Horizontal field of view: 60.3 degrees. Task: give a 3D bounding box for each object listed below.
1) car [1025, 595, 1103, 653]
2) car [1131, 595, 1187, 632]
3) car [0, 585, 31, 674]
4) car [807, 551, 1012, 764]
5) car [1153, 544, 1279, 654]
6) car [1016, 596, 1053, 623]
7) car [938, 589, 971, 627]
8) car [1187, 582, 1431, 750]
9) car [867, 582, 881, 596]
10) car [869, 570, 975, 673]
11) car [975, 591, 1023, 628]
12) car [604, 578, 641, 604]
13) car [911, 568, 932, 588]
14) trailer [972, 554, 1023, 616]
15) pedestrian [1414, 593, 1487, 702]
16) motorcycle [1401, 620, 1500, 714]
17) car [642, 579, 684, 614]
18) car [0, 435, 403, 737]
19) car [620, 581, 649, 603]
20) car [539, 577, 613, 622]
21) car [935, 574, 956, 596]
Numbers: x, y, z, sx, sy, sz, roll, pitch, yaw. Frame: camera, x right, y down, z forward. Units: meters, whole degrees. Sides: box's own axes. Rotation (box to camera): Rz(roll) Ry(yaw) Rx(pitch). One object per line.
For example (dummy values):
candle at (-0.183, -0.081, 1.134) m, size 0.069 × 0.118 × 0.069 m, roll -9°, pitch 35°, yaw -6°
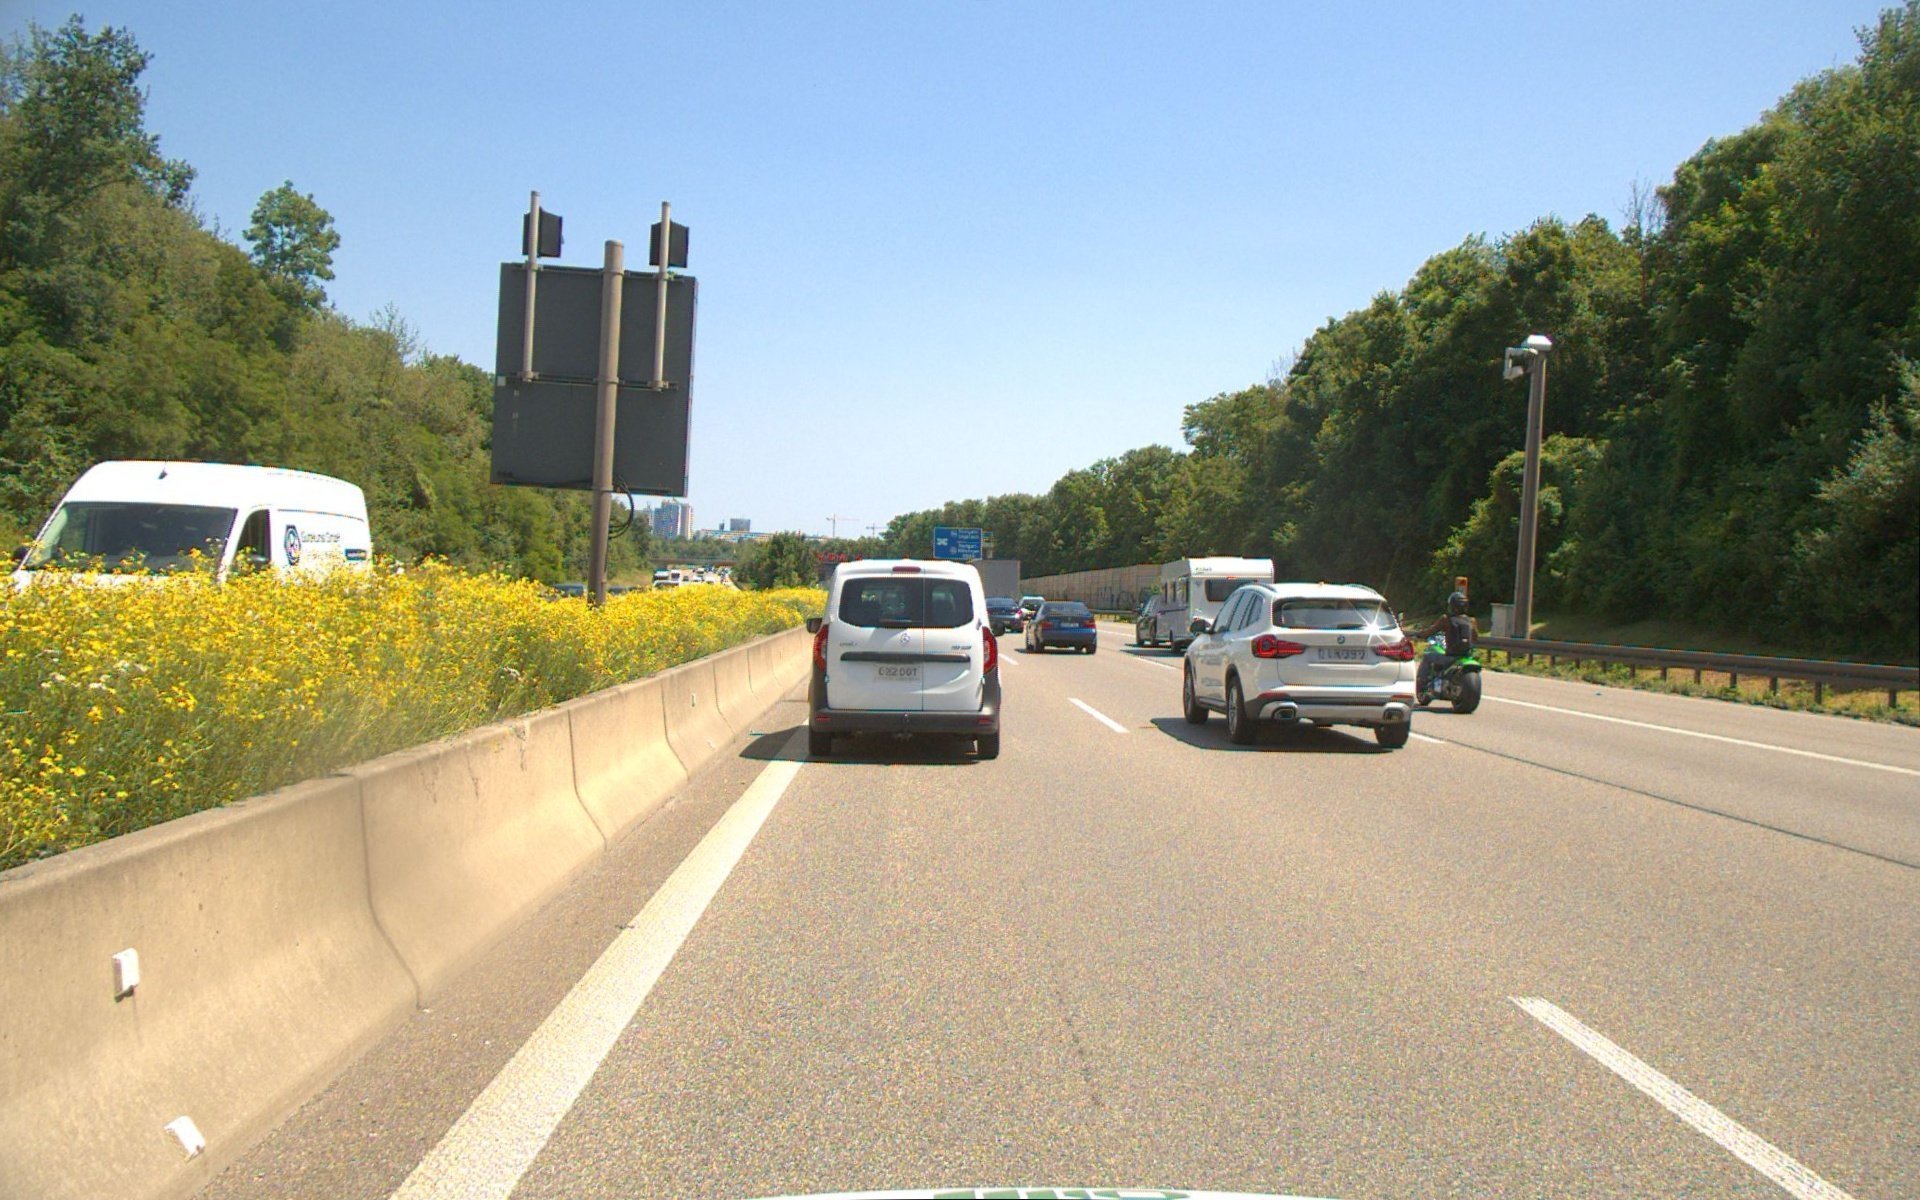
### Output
car at (2.775, 0.611, 44.878) m, size 1.787 × 1.449 × 3.999 m, roll 1°, pitch 0°, yaw -1°
car at (8.265, 0.539, 69.025) m, size 1.787 × 1.449 × 3.999 m, roll 1°, pitch 0°, yaw -1°
car at (-16.906, 0.480, 26.761) m, size 1.752 × 1.479 × 3.541 m, roll 1°, pitch 0°, yaw -1°
car at (-0.501, 0.498, 16.559) m, size 1.766 × 1.839 × 3.999 m, roll 1°, pitch 0°, yaw -2°
car at (7.056, -0.033, 46.393) m, size 2.428 × 2.814 × 6.218 m, roll 1°, pitch 0°, yaw -1°
car at (4.158, 0.497, 92.932) m, size 1.787 × 1.449 × 3.999 m, roll 1°, pitch 0°, yaw -1°
car at (-0.323, 0.417, 92.668) m, size 1.787 × 2.024 × 3.999 m, roll 1°, pitch 0°, yaw -1°
car at (3.729, 0.648, 18.340) m, size 1.833 × 1.636 × 3.878 m, roll 1°, pitch 0°, yaw -1°
car at (-13.242, -1.712, 254.063) m, size 1.953 × 2.049 × 3.999 m, roll 1°, pitch 0°, yaw -1°
car at (-0.747, 0.393, 32.915) m, size 1.953 × 1.892 × 3.999 m, roll 1°, pitch 0°, yaw -1°
car at (1.597, 0.358, 68.709) m, size 1.787 × 1.449 × 3.999 m, roll 1°, pitch 0°, yaw -1°
car at (-23.646, -0.621, 116.070) m, size 1.954 × 1.786 × 3.997 m, roll 1°, pitch 0°, yaw -4°
car at (-4.144, -2.363, 177.686) m, size 1.954 × 2.049 × 3.996 m, roll 1°, pitch 0°, yaw -5°
trailer at (2.524, -0.995, 114.846) m, size 3.019 × 4.055 × 10.321 m, roll 1°, pitch 0°, yaw -1°
pedestrian at (7.022, 0.666, 23.695) m, size 0.834 × 1.504 × 0.638 m, roll 2°, pitch 1°, yaw 3°
motorcycle at (7.039, 0.929, 23.843) m, size 0.841 × 1.202 × 2.277 m, roll 2°, pitch 1°, yaw 3°
car at (-17.973, -0.227, 100.295) m, size 1.954 × 2.049 × 3.998 m, roll 1°, pitch 0°, yaw -3°
car at (-7.773, -0.136, 17.265) m, size 1.953 × 2.586 × 5.908 m, roll 1°, pitch 0°, yaw -1°
car at (-27.080, -0.682, 137.672) m, size 1.955 × 1.791 × 3.996 m, roll 1°, pitch 0°, yaw -5°
car at (-13.869, -0.038, 59.985) m, size 1.805 × 1.545 × 3.868 m, roll 1°, pitch 0°, yaw -1°
car at (-1.436, -1.440, 160.583) m, size 1.953 × 2.049 × 3.999 m, roll 1°, pitch 0°, yaw -1°
